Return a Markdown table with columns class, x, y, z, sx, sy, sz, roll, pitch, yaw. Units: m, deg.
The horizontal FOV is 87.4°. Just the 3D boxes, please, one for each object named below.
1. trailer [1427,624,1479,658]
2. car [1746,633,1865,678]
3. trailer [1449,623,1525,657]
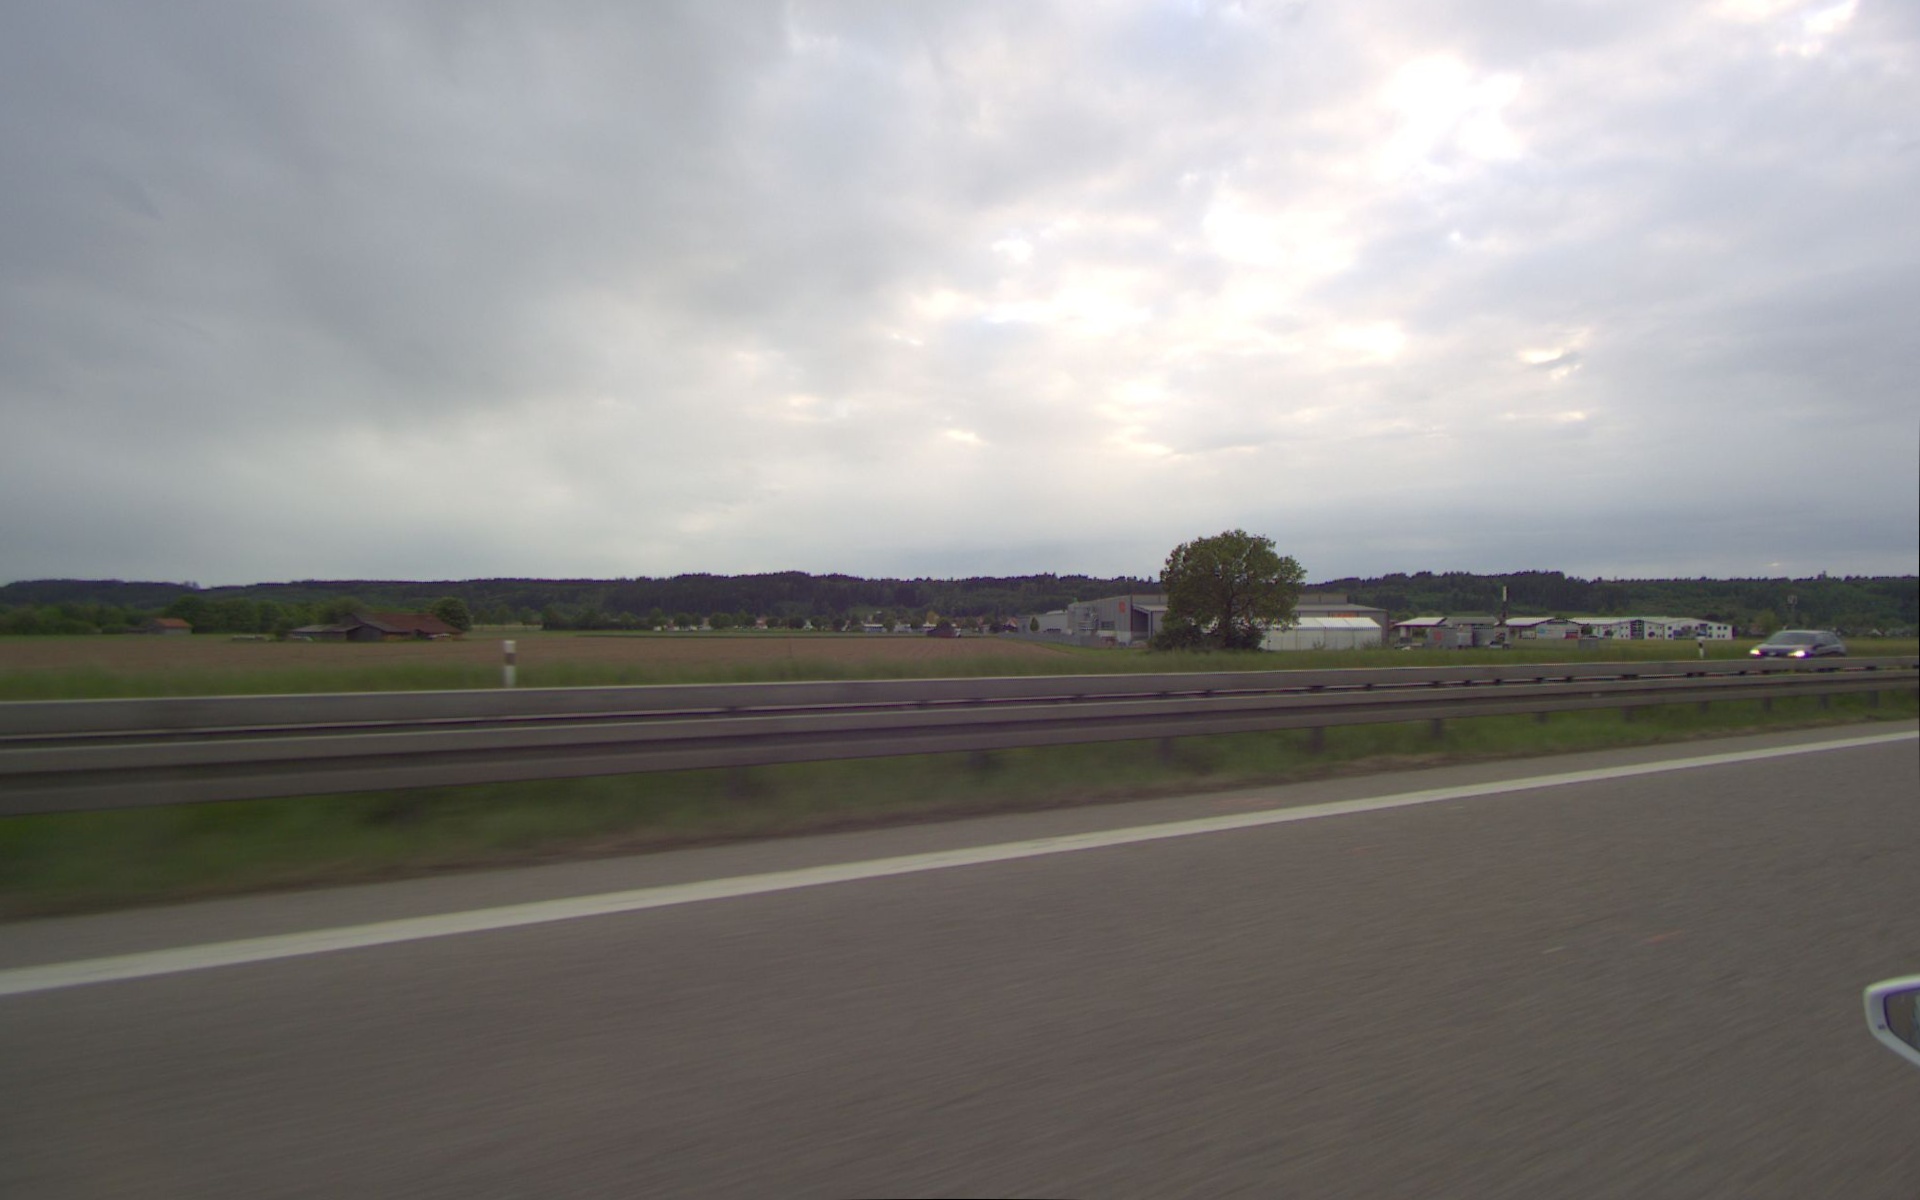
| class | x | y | z | sx | sy | sz | roll | pitch | yaw |
| --- | --- | --- | --- | --- | --- | --- | --- | --- | --- |
| trailer | 81.206 | 6.770 | 165.809 | 3.681 | 5.329 | 10.085 | 1 | -3 | 0 |
| car | 30.954 | 1.993 | 36.752 | 4.399 | 1.499 | 1.984 | 1 | 0 | -30 |
| trailer | 85.577 | 6.642 | 163.705 | 3.499 | 5.202 | 17.040 | 1 | -3 | 0 |
